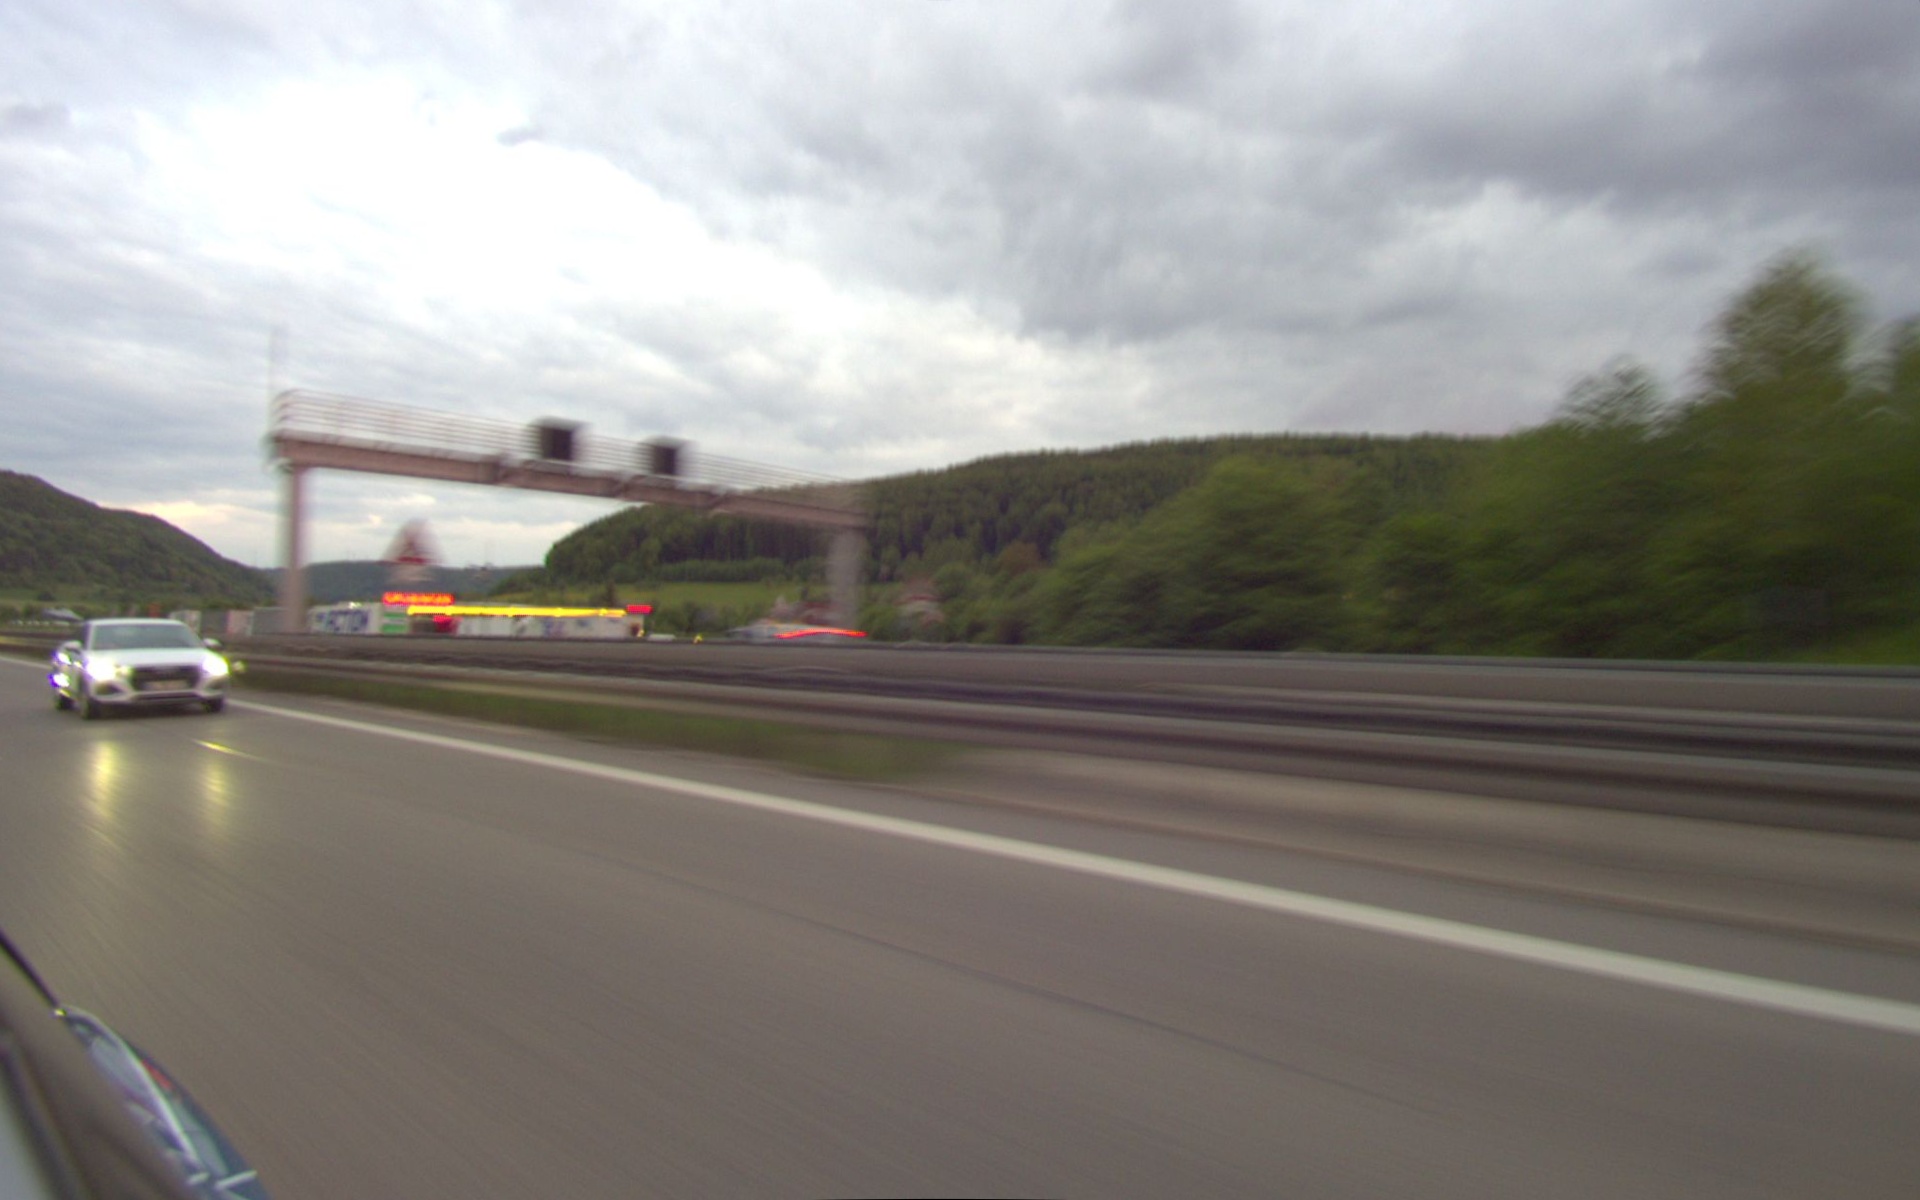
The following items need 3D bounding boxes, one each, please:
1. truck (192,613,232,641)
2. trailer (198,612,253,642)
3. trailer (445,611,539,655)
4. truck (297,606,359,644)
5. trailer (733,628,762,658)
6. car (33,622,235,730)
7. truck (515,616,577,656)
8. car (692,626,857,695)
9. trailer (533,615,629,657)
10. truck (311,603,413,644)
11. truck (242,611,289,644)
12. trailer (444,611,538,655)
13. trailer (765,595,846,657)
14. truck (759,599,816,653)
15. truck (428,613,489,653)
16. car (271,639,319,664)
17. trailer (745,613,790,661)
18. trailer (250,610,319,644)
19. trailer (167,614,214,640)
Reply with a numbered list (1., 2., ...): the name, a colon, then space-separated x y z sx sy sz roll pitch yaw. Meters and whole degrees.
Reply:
1. truck: -94.847 3.449 128.235 6.725 3.451 2.842 -2 -2 42
2. trailer: -89.733 3.284 123.536 13.568 3.451 2.842 -2 -2 43
3. trailer: -49.578 3.452 106.719 15.942 4.292 2.985 -2 -2 42
4. truck: -59.030 2.307 94.472 6.716 3.451 2.846 -2 -1 38
5. trailer: -26.877 5.352 127.607 2.891 3.546 13.456 1 -2 -15
6. car: -13.832 1.154 16.824 5.035 1.512 1.771 -2 -1 41
7. truck: -40.182 3.448 98.051 7.027 3.668 2.842 -2 -2 43
8. car: -4.844 1.489 26.039 4.644 1.598 1.711 -1 -1 42
9. trailer: -35.118 3.290 93.413 12.713 3.707 2.843 -2 -2 42
10. truck: -53.402 2.159 90.125 13.767 3.451 2.847 -2 -1 37
11. truck: -76.456 3.027 111.368 6.725 3.451 2.842 -2 -2 43
12. trailer: -49.604 3.451 106.689 15.942 4.292 2.985 -2 -2 42
13. trailer: -10.545 1.724 67.477 3.019 3.707 13.384 0 -1 -19
14. truck: -12.713 1.872 74.010 2.962 3.707 7.701 0 -1 -18
15. truck: -55.578 3.587 112.114 8.862 4.292 2.986 -2 -2 42
16. car: -41.100 3.144 62.517 3.534 1.432 1.624 -1 -1 41
17. trailer: -18.081 3.410 94.313 3.235 4.137 14.484 1 -2 -14
18. trailer: -71.257 2.873 106.596 13.847 3.451 2.842 -2 -2 42
19. trailer: -104.118 3.676 136.772 13.223 3.451 2.842 -2 -2 43
